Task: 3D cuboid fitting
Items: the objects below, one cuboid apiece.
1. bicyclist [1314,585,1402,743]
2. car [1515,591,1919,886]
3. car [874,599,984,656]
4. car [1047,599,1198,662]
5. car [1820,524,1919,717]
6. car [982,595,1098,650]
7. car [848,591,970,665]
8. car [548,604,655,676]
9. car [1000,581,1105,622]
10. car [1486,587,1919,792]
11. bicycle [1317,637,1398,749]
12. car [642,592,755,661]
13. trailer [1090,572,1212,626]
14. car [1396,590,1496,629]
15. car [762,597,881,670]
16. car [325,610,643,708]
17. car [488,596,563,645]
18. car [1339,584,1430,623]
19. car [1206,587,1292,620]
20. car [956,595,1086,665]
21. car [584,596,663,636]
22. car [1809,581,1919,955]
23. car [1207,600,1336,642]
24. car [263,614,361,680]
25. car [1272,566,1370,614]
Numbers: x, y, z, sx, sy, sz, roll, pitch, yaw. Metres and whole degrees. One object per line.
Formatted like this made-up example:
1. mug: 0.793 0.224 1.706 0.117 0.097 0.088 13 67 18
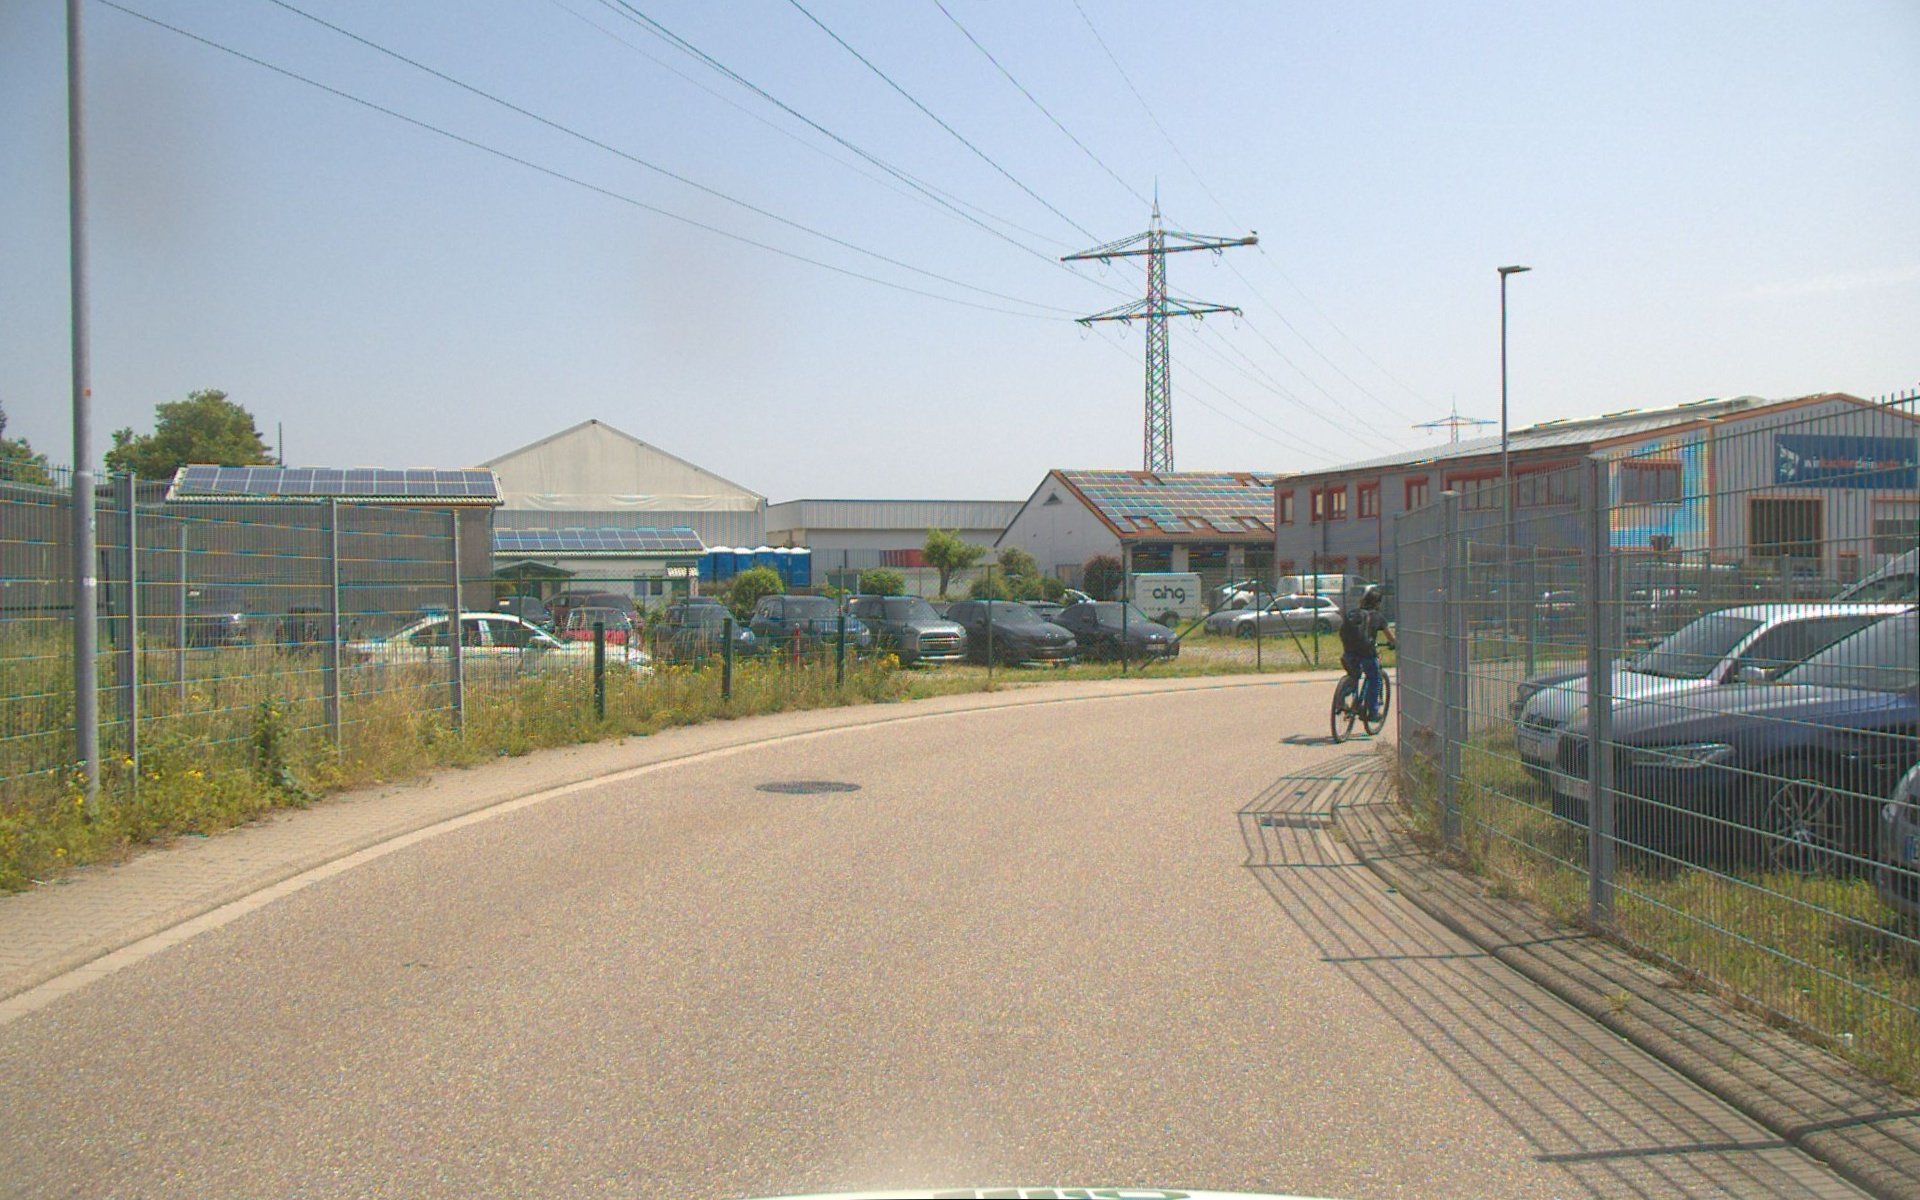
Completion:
1. bicyclist: 4.342 0.670 17.985 0.825 1.647 1.040 1 0 18
2. car: 5.693 0.701 9.437 4.444 1.500 1.825 0 0 0
3. car: -0.903 0.722 45.591 1.963 1.445 3.980 -1 1 -18
4. car: 3.977 0.715 41.345 1.966 1.460 4.637 0 0 -20
5. car: 12.589 0.224 18.193 1.890 2.186 5.261 0 0 -42
6. car: 2.206 0.606 46.812 1.963 1.460 4.402 0 0 -16
7. car: -1.256 0.627 39.161 1.835 1.672 3.612 0 0 -20
8. car: -7.902 0.833 36.296 1.835 1.479 3.420 0 0 -20
9. car: 3.782 0.057 67.730 3.927 1.626 1.867 0 0 -19
10. car: 5.958 0.630 12.598 3.393 1.447 1.636 0 0 0
11. bicycle: 4.359 0.984 18.061 0.670 1.069 1.901 1 1 19
12. car: -5.927 0.557 37.166 1.835 1.458 3.627 0 0 -20
13. trailer: 7.241 -0.048 62.878 4.361 1.979 1.712 -1 0 -6
14. car: 18.831 0.349 64.086 3.541 1.441 1.498 -1 0 -22
15. car: -3.253 0.732 38.318 1.835 1.588 3.674 0 0 -20
16. car: -7.208 0.848 25.106 4.481 1.330 1.857 0 0 -20
17. car: -13.673 0.602 51.924 1.835 1.458 4.576 0 0 -20
18. car: 18.028 0.131 70.232 3.541 1.571 1.498 -1 0 -22
19. car: 13.835 0.164 79.118 3.839 1.542 1.498 -1 0 -22
20. car: 1.401 0.690 39.640 1.835 1.581 3.747 0 0 -20
21. car: -10.878 0.493 53.270 1.835 1.196 4.576 0 0 -20
22. car: 5.657 0.676 6.812 3.469 1.528 1.710 0 0 -4
23. car: 9.997 0.657 53.009 4.070 1.283 1.227 -1 0 -22
24. car: -15.488 1.082 39.441 1.841 1.439 3.410 0 0 -28
25. car: 15.810 -0.451 72.445 3.839 2.013 1.812 -1 0 -22
